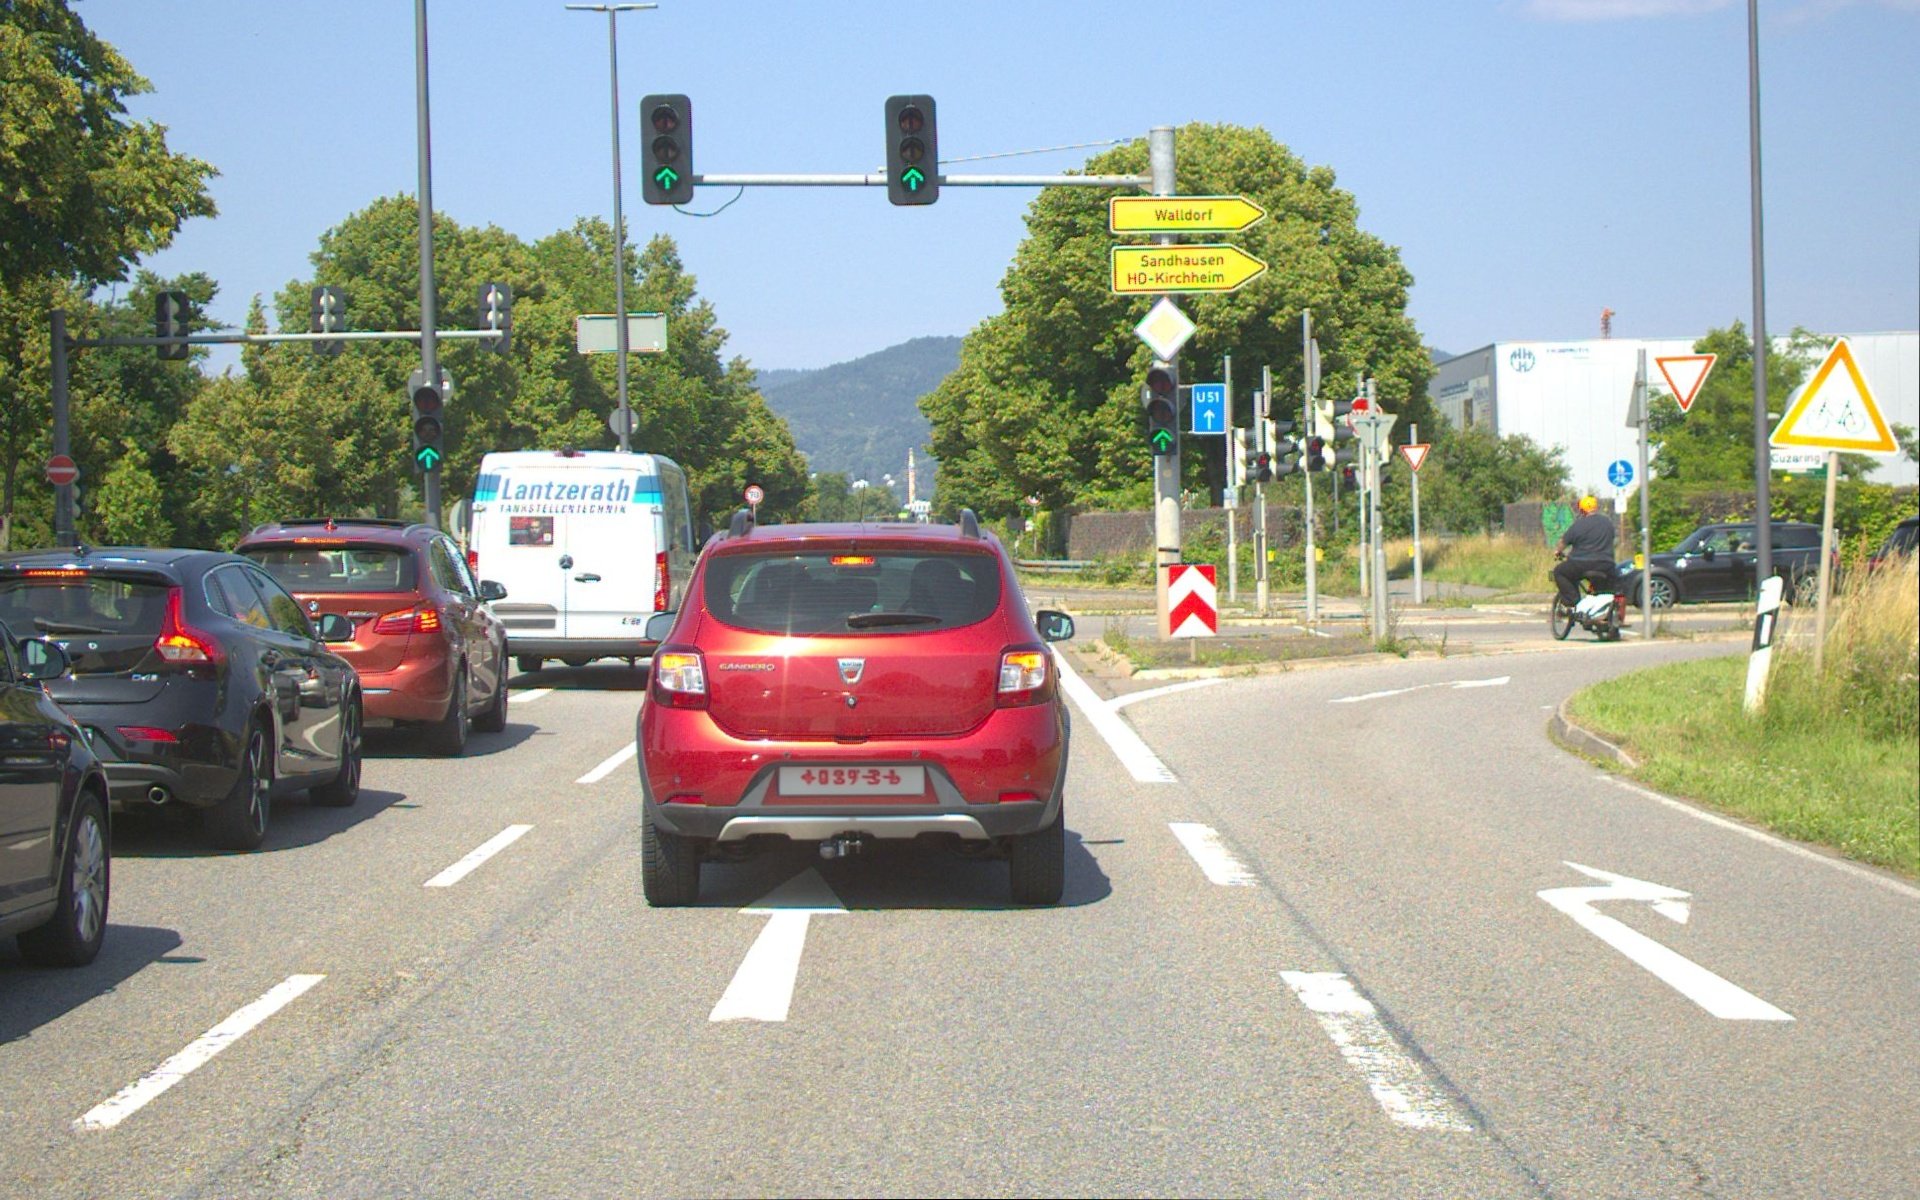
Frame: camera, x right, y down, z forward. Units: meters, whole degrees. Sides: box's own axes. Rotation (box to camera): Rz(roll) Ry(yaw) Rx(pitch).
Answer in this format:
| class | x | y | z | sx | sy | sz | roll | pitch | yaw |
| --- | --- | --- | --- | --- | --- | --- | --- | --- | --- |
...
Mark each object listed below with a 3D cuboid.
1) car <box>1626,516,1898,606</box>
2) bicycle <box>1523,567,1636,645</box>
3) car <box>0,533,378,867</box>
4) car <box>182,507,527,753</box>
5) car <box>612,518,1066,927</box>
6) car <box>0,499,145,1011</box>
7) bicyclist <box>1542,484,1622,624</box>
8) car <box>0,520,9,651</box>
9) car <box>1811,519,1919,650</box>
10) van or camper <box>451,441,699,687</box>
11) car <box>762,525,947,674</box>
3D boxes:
| class | x | y | z | sx | sy | sz | roll | pitch | yaw |
| --- | --- | --- | --- | --- | --- | --- | --- | --- | --- |
| car | 12.635 | -0.629 | 54.358 | 3.988 | 1.322 | 1.806 | -1 | 1 | 7 |
| bicycle | 7.989 | 0.061 | 44.439 | 0.761 | 0.911 | 2.780 | -1 | 1 | -4 |
| car | -4.128 | 0.409 | 17.334 | 1.702 | 1.437 | 3.956 | 1 | 2 | 0 |
| car | -4.174 | 0.151 | 24.273 | 1.724 | 1.594 | 3.955 | 0 | 1 | 0 |
| car | -0.433 | 0.431 | 15.093 | 1.749 | 1.570 | 3.676 | 0 | 1 | 1 |
| car | -3.807 | 0.476 | 10.452 | 1.723 | 1.570 | 3.893 | 0 | 1 | 0 |
| bicyclist | 8.020 | -0.597 | 44.358 | 0.802 | 1.765 | 0.809 | -1 | 1 | -5 |
| car | -15.094 | -0.144 | 48.647 | 1.993 | 1.924 | 5.017 | -1 | 1 | -2 |
| car | 12.707 | -0.226 | 44.368 | 1.997 | 1.611 | 4.331 | 1 | 1 | 34 |
| van or camper | -3.797 | -0.390 | 34.707 | 2.179 | 2.295 | 4.827 | 0 | 1 | -3 |
| car | -1.053 | -0.045 | 35.956 | 1.749 | 1.453 | 3.676 | 0 | 1 | 1 |
